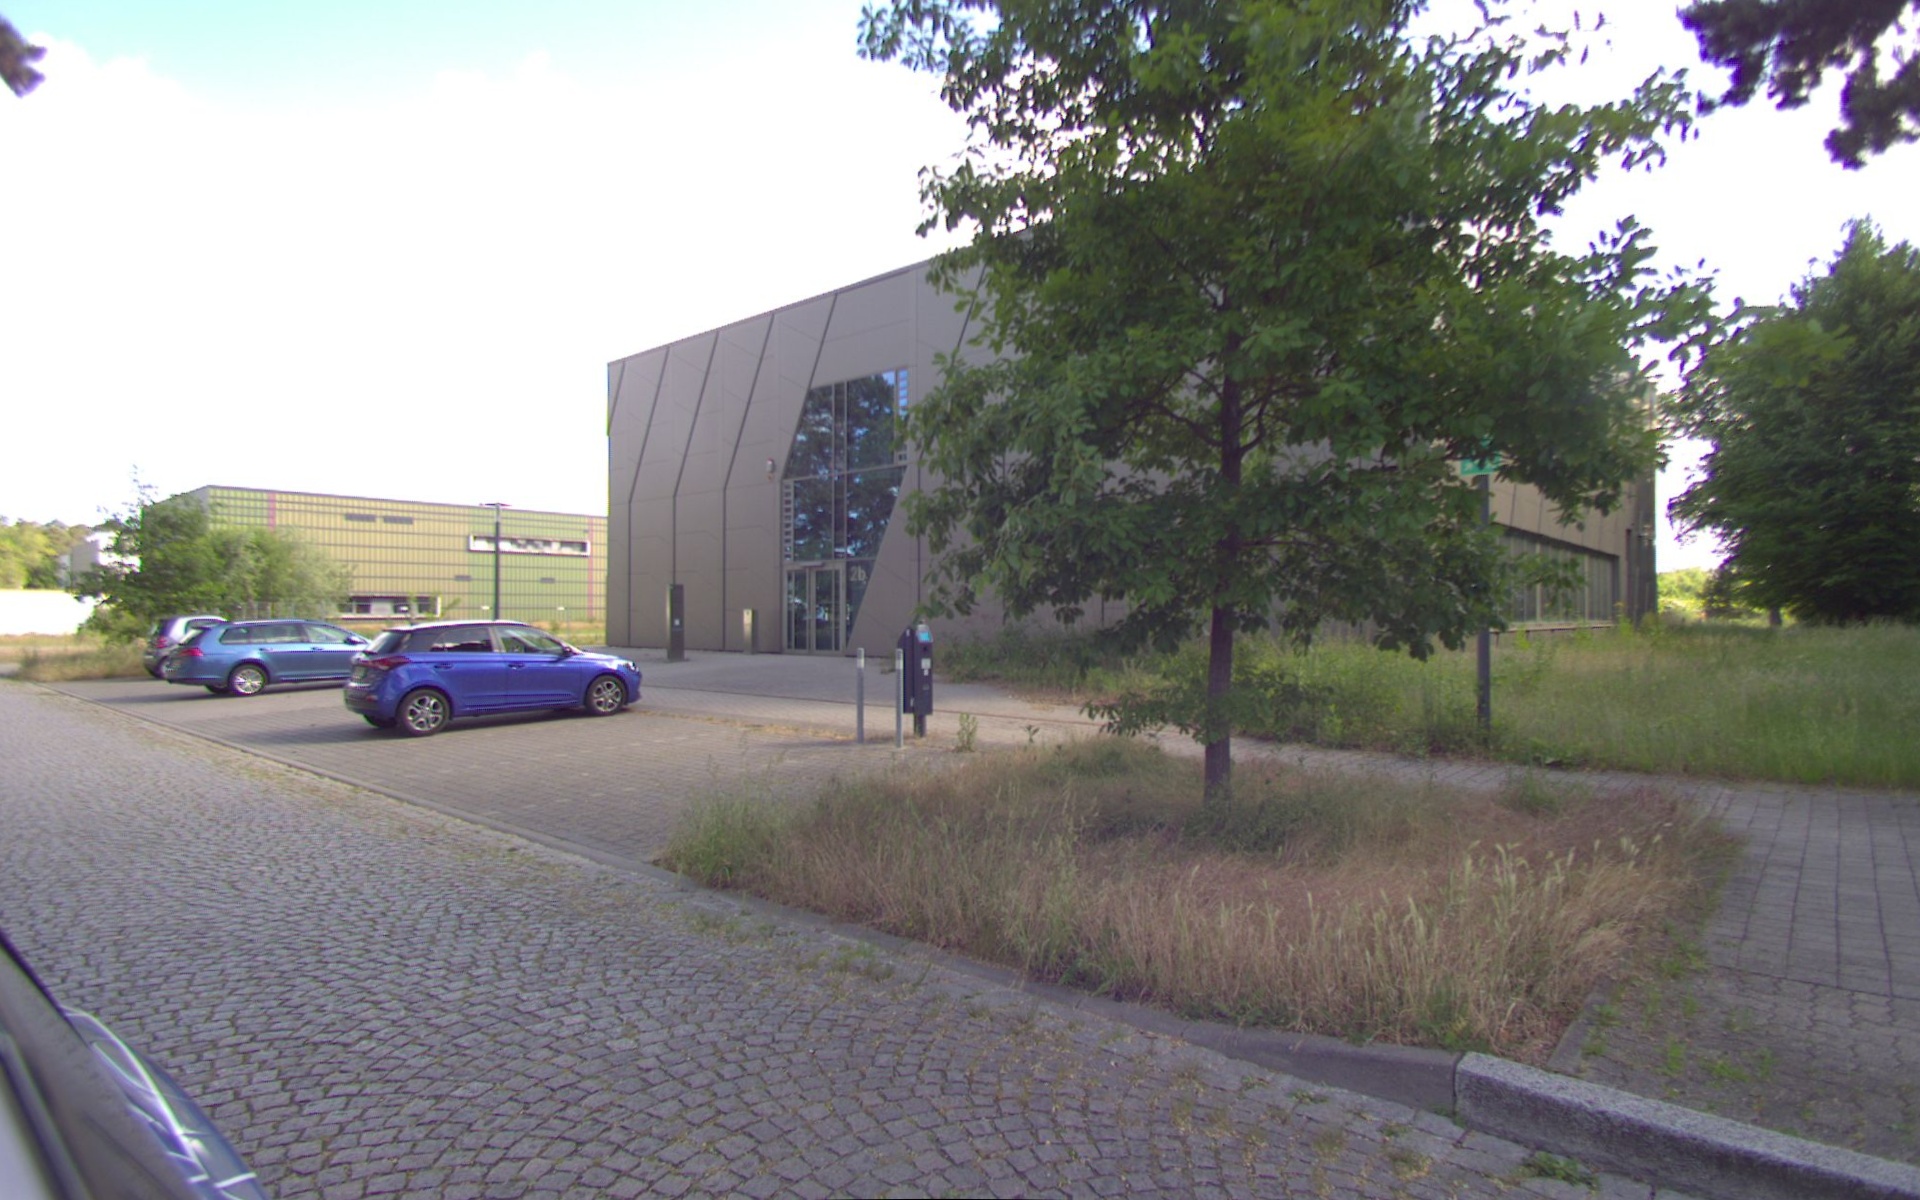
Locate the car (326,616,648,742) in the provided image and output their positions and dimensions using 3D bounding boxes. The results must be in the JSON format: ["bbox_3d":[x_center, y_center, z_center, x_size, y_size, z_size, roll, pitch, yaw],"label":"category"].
[{"bbox_3d":[-6.736,1.024,14.688,1.735,1.479,3.866,-1,0,43],"label":"car"}]

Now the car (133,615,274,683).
[{"bbox_3d":[-19.307,1.205,25.888,1.480,1.580,2.619,-1,0,40],"label":"car"}]

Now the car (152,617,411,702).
[{"bbox_3d":[-13.894,1.145,20.924,1.733,1.485,4.128,-1,0,39],"label":"car"}]
